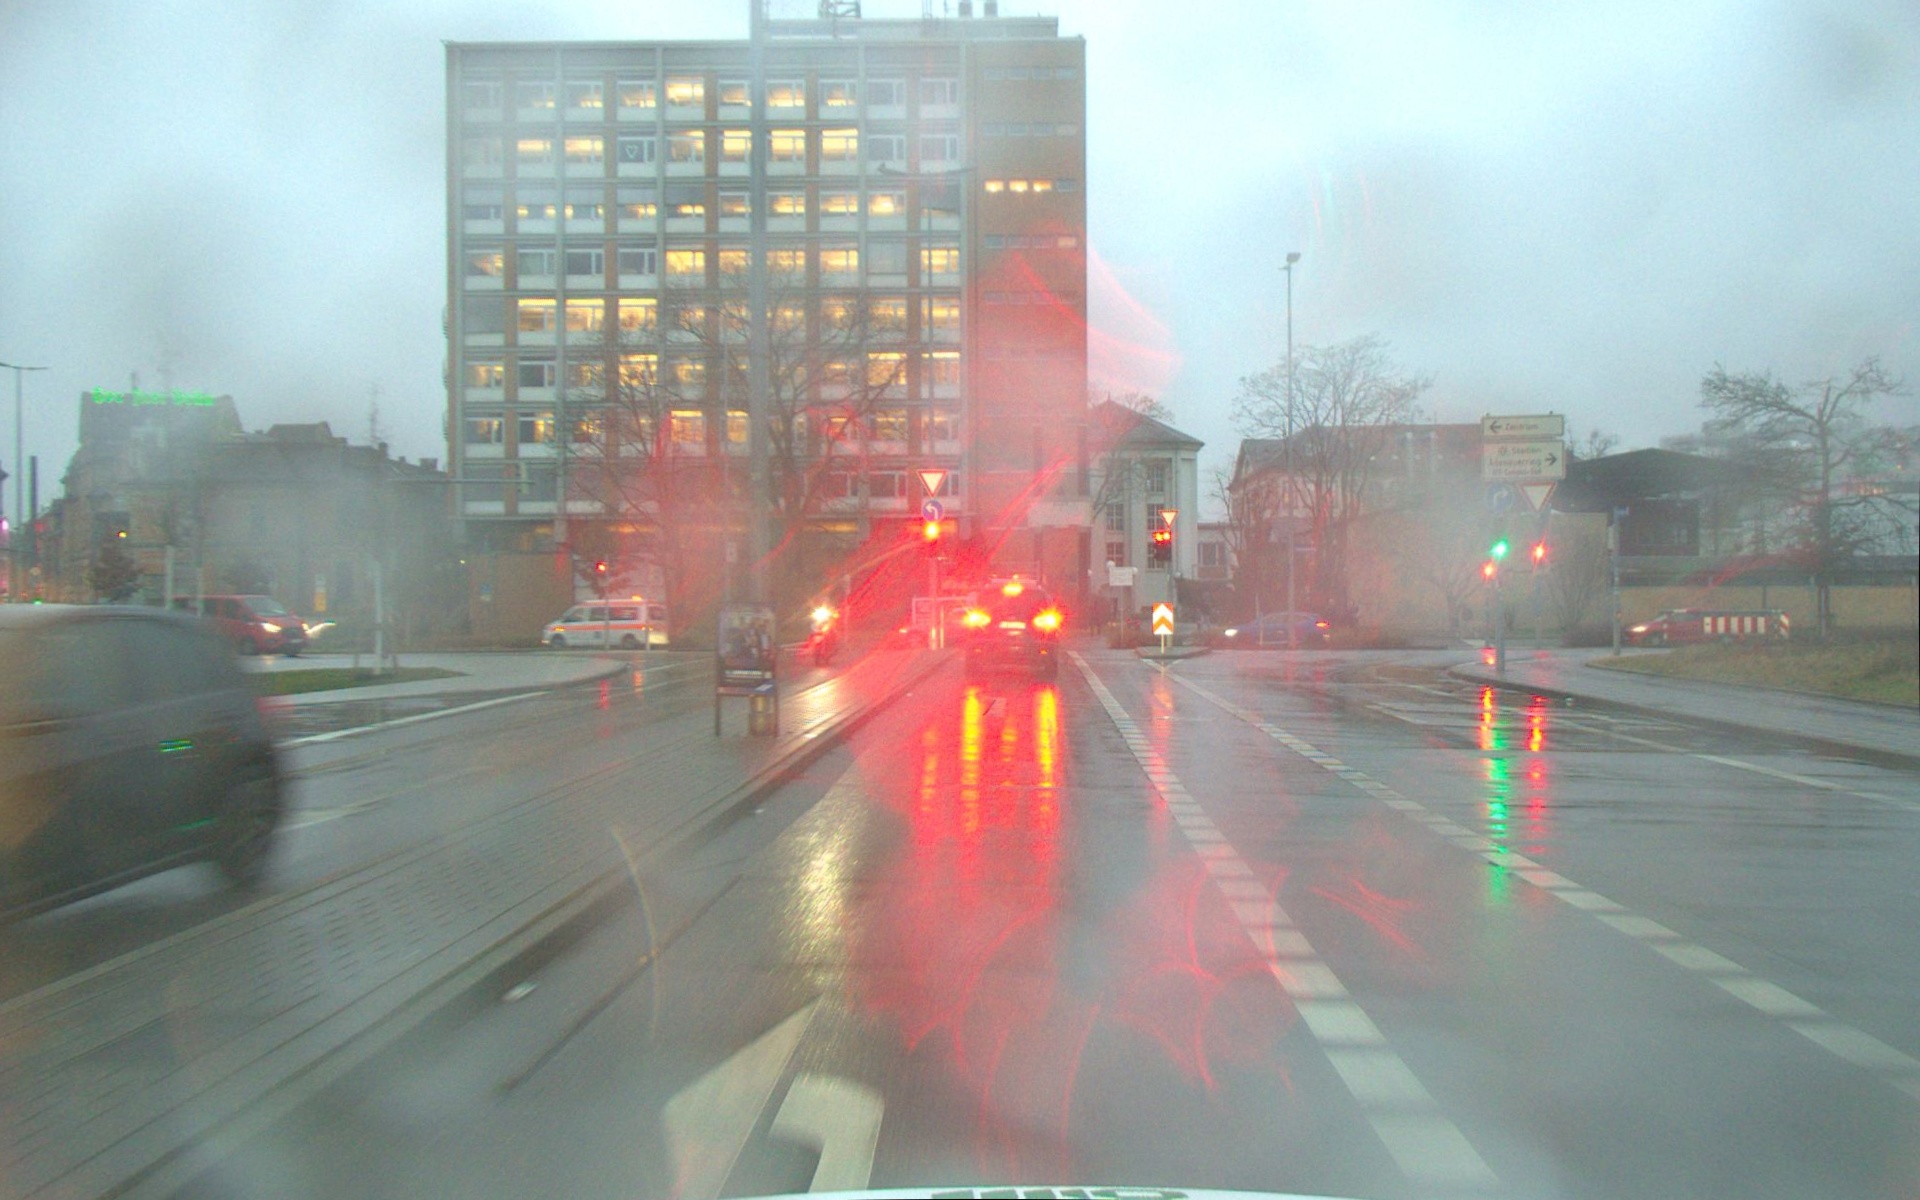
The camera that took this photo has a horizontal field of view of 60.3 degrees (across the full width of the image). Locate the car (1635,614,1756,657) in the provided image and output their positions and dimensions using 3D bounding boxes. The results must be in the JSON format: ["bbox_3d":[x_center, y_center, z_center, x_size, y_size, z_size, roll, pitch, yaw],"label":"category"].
[{"bbox_3d":[26.297,1.266,59.219,3.709,1.423,1.566,1,-2,11],"label":"car"}]

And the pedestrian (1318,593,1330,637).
[{"bbox_3d":[15.714,0.659,71.355,0.428,1.871,0.459,1,-2,20],"label":"pedestrian"}]

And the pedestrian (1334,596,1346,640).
[{"bbox_3d":[16.184,0.764,70.458,0.448,1.871,0.439,1,-2,20],"label":"pedestrian"}]

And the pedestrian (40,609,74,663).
[{"bbox_3d":[-29.194,1.155,53.492,0.451,1.726,0.795,0,-2,26],"label":"pedestrian"}]

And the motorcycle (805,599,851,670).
[{"bbox_3d":[-2.932,0.749,36.967,0.812,1.523,2.314,-1,0,1],"label":"motorcycle"}]

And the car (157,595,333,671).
[{"bbox_3d":[-23.010,1.058,53.271,4.916,2.321,2.259,1,-2,19],"label":"car"}]

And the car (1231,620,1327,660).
[{"bbox_3d":[11.953,1.509,61.940,3.339,1.423,1.470,1,-2,18],"label":"car"}]

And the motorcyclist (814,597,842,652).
[{"bbox_3d":[-2.935,0.555,36.911,0.524,1.214,0.611,1,-2,1],"label":"motorcyclist"}]

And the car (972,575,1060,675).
[{"bbox_3d":[1.144,0.465,33.244,1.613,1.850,4.001,1,0,2],"label":"car"}]

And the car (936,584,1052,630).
[{"bbox_3d":[1.677,0.346,80.938,5.428,2.060,2.001,1,-2,8],"label":"car"}]

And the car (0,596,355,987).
[{"bbox_3d":[-4.295,0.713,6.992,1.710,1.402,4.368,-2,0,2],"label":"car"}]

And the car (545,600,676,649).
[{"bbox_3d":[-14.668,0.997,69.463,5.046,1.947,2.000,1,-1,18],"label":"car"}]

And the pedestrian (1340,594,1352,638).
[{"bbox_3d":[16.611,0.705,71.193,0.428,1.871,0.459,0,-2,21],"label":"pedestrian"}]
